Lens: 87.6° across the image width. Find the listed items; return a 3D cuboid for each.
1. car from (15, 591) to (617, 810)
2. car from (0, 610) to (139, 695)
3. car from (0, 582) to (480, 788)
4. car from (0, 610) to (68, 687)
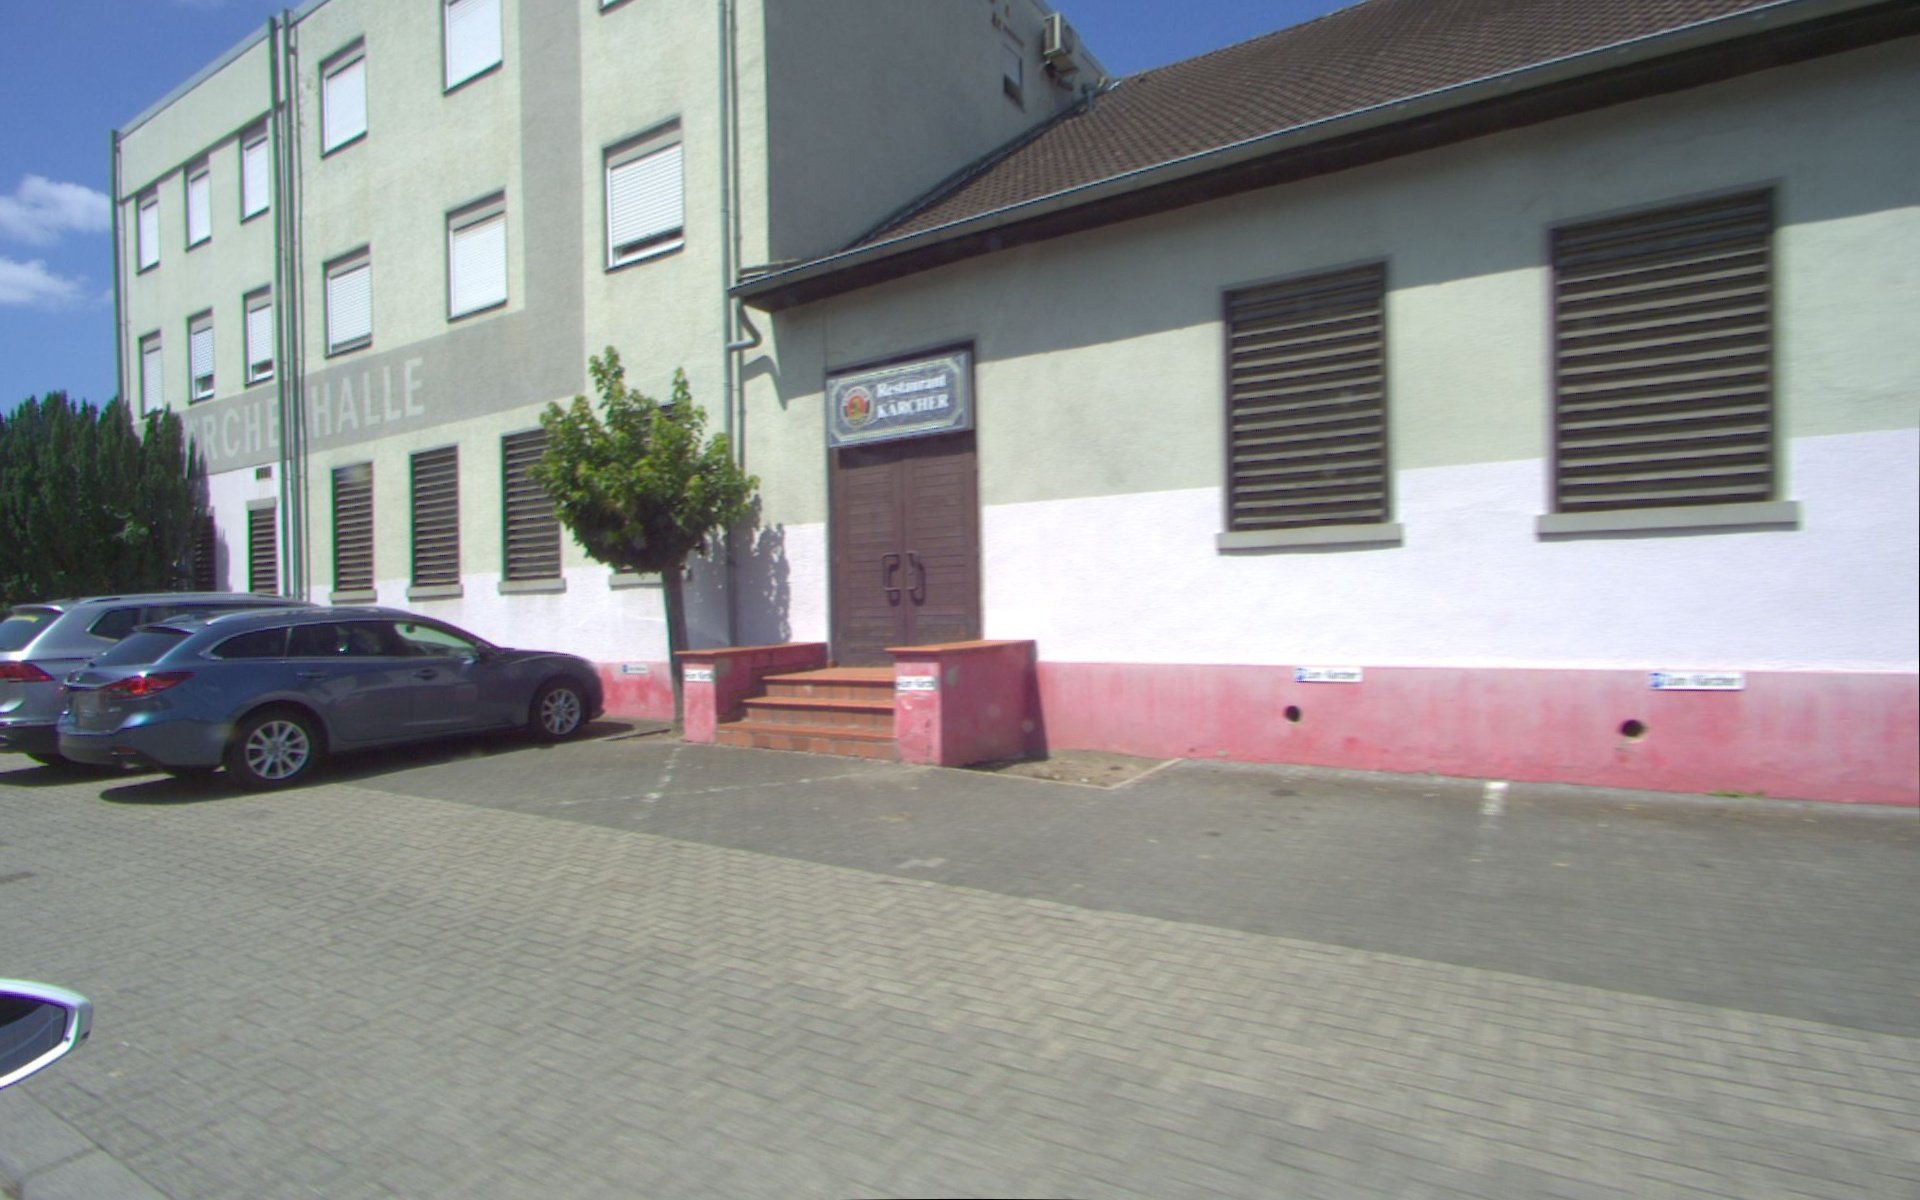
[{"bbox_3d":[-5.837,0.733,9.731,1.971,1.540,4.491,-1,1,31],"label":"car"},{"bbox_3d":[-18.423,1.082,18.743,1.755,1.458,4.312,-4,1,31],"label":"car"},{"bbox_3d":[-7.814,0.696,10.795,1.894,1.720,4.445,-1,1,30],"label":"car"},{"bbox_3d":[-21.145,1.171,20.462,1.784,1.511,3.885,-3,3,30],"label":"car"}]
